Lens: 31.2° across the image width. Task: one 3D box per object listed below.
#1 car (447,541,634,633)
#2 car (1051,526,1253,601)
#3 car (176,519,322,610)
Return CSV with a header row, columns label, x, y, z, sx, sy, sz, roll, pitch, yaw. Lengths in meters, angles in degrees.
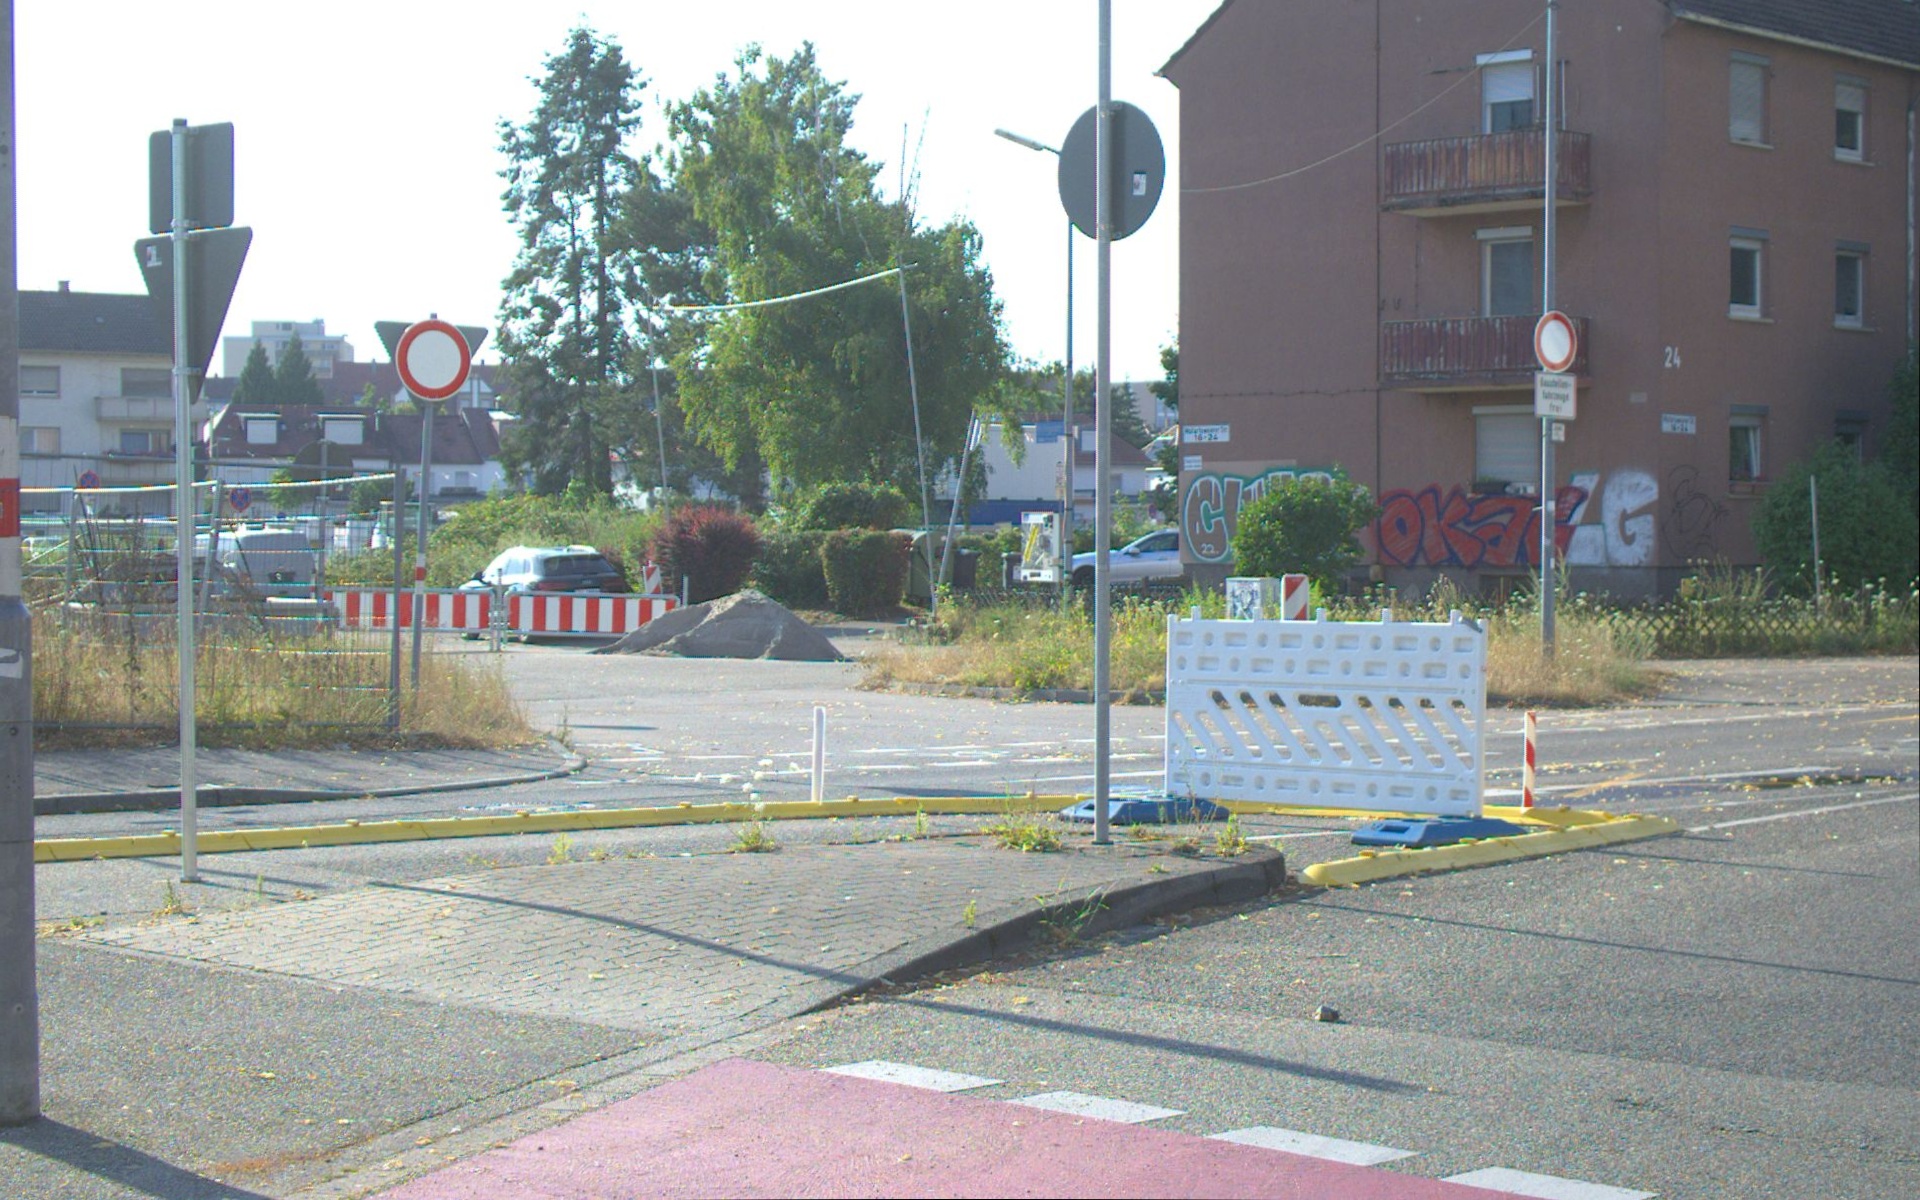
label,x,y,z,sx,sy,sz,roll,pitch,yaw
car,-7.495,-0.257,61.190,1.993,1.546,4.001,0,1,-28
car,4.048,-0.782,72.069,3.989,1.525,1.999,1,1,11
car,-15.618,-0.807,75.420,1.862,1.941,4.000,0,1,-32
